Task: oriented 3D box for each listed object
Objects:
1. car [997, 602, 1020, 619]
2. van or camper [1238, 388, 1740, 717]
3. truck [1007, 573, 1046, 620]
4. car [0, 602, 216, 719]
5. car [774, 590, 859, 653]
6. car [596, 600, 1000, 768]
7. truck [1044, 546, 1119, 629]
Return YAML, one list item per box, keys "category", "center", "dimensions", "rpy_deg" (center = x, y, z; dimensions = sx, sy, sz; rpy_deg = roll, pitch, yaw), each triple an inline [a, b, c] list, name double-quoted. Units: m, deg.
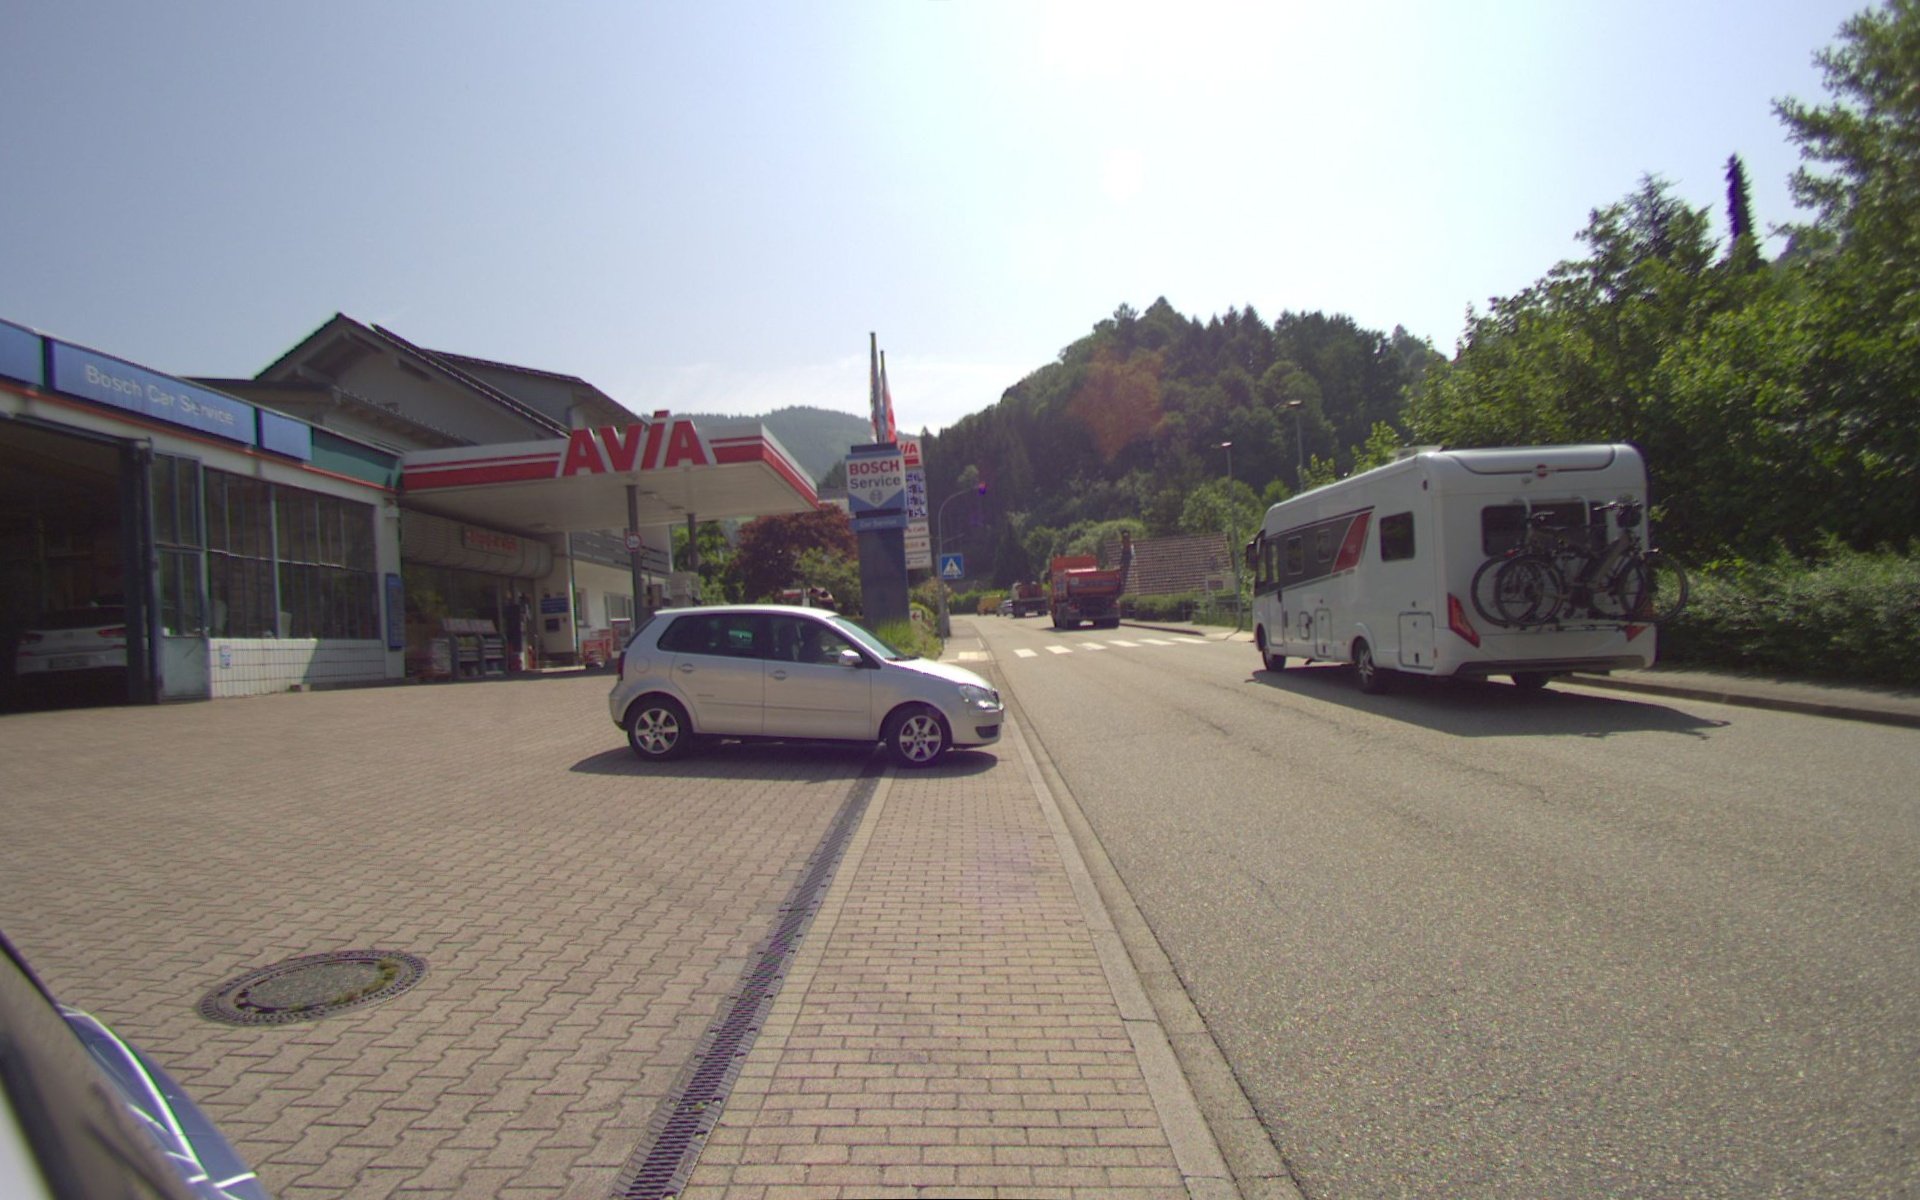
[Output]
- category: "car"
  center: [4.520, 0.957, 95.575]
  dimensions: [1.762, 1.586, 3.601]
  rpy_deg: [-1, 0, -3]
- category: "van or camper"
  center: [6.079, -0.386, 13.552]
  dimensions: [2.333, 2.975, 8.049]
  rpy_deg: [-3, -1, 0]
- category: "truck"
  center: [5.490, -0.251, 84.332]
  dimensions: [2.616, 3.609, 7.771]
  rpy_deg: [-2, 0, 1]
- category: "car"
  center: [-14.030, 0.891, 16.857]
  dimensions: [1.578, 1.701, 3.943]
  rpy_deg: [-1, 0, -20]
- category: "car"
  center: [-3.820, 0.541, 27.459]
  dimensions: [1.674, 1.589, 3.910]
  rpy_deg: [-1, 0, 1]
- category: "car"
  center: [-1.466, 0.751, 9.997]
  dimensions: [3.708, 1.493, 1.594]
  rpy_deg: [0, 0, 4]
- category: "truck"
  center: [5.802, -0.565, 49.652]
  dimensions: [2.616, 3.609, 8.192]
  rpy_deg: [-2, 0, 0]
